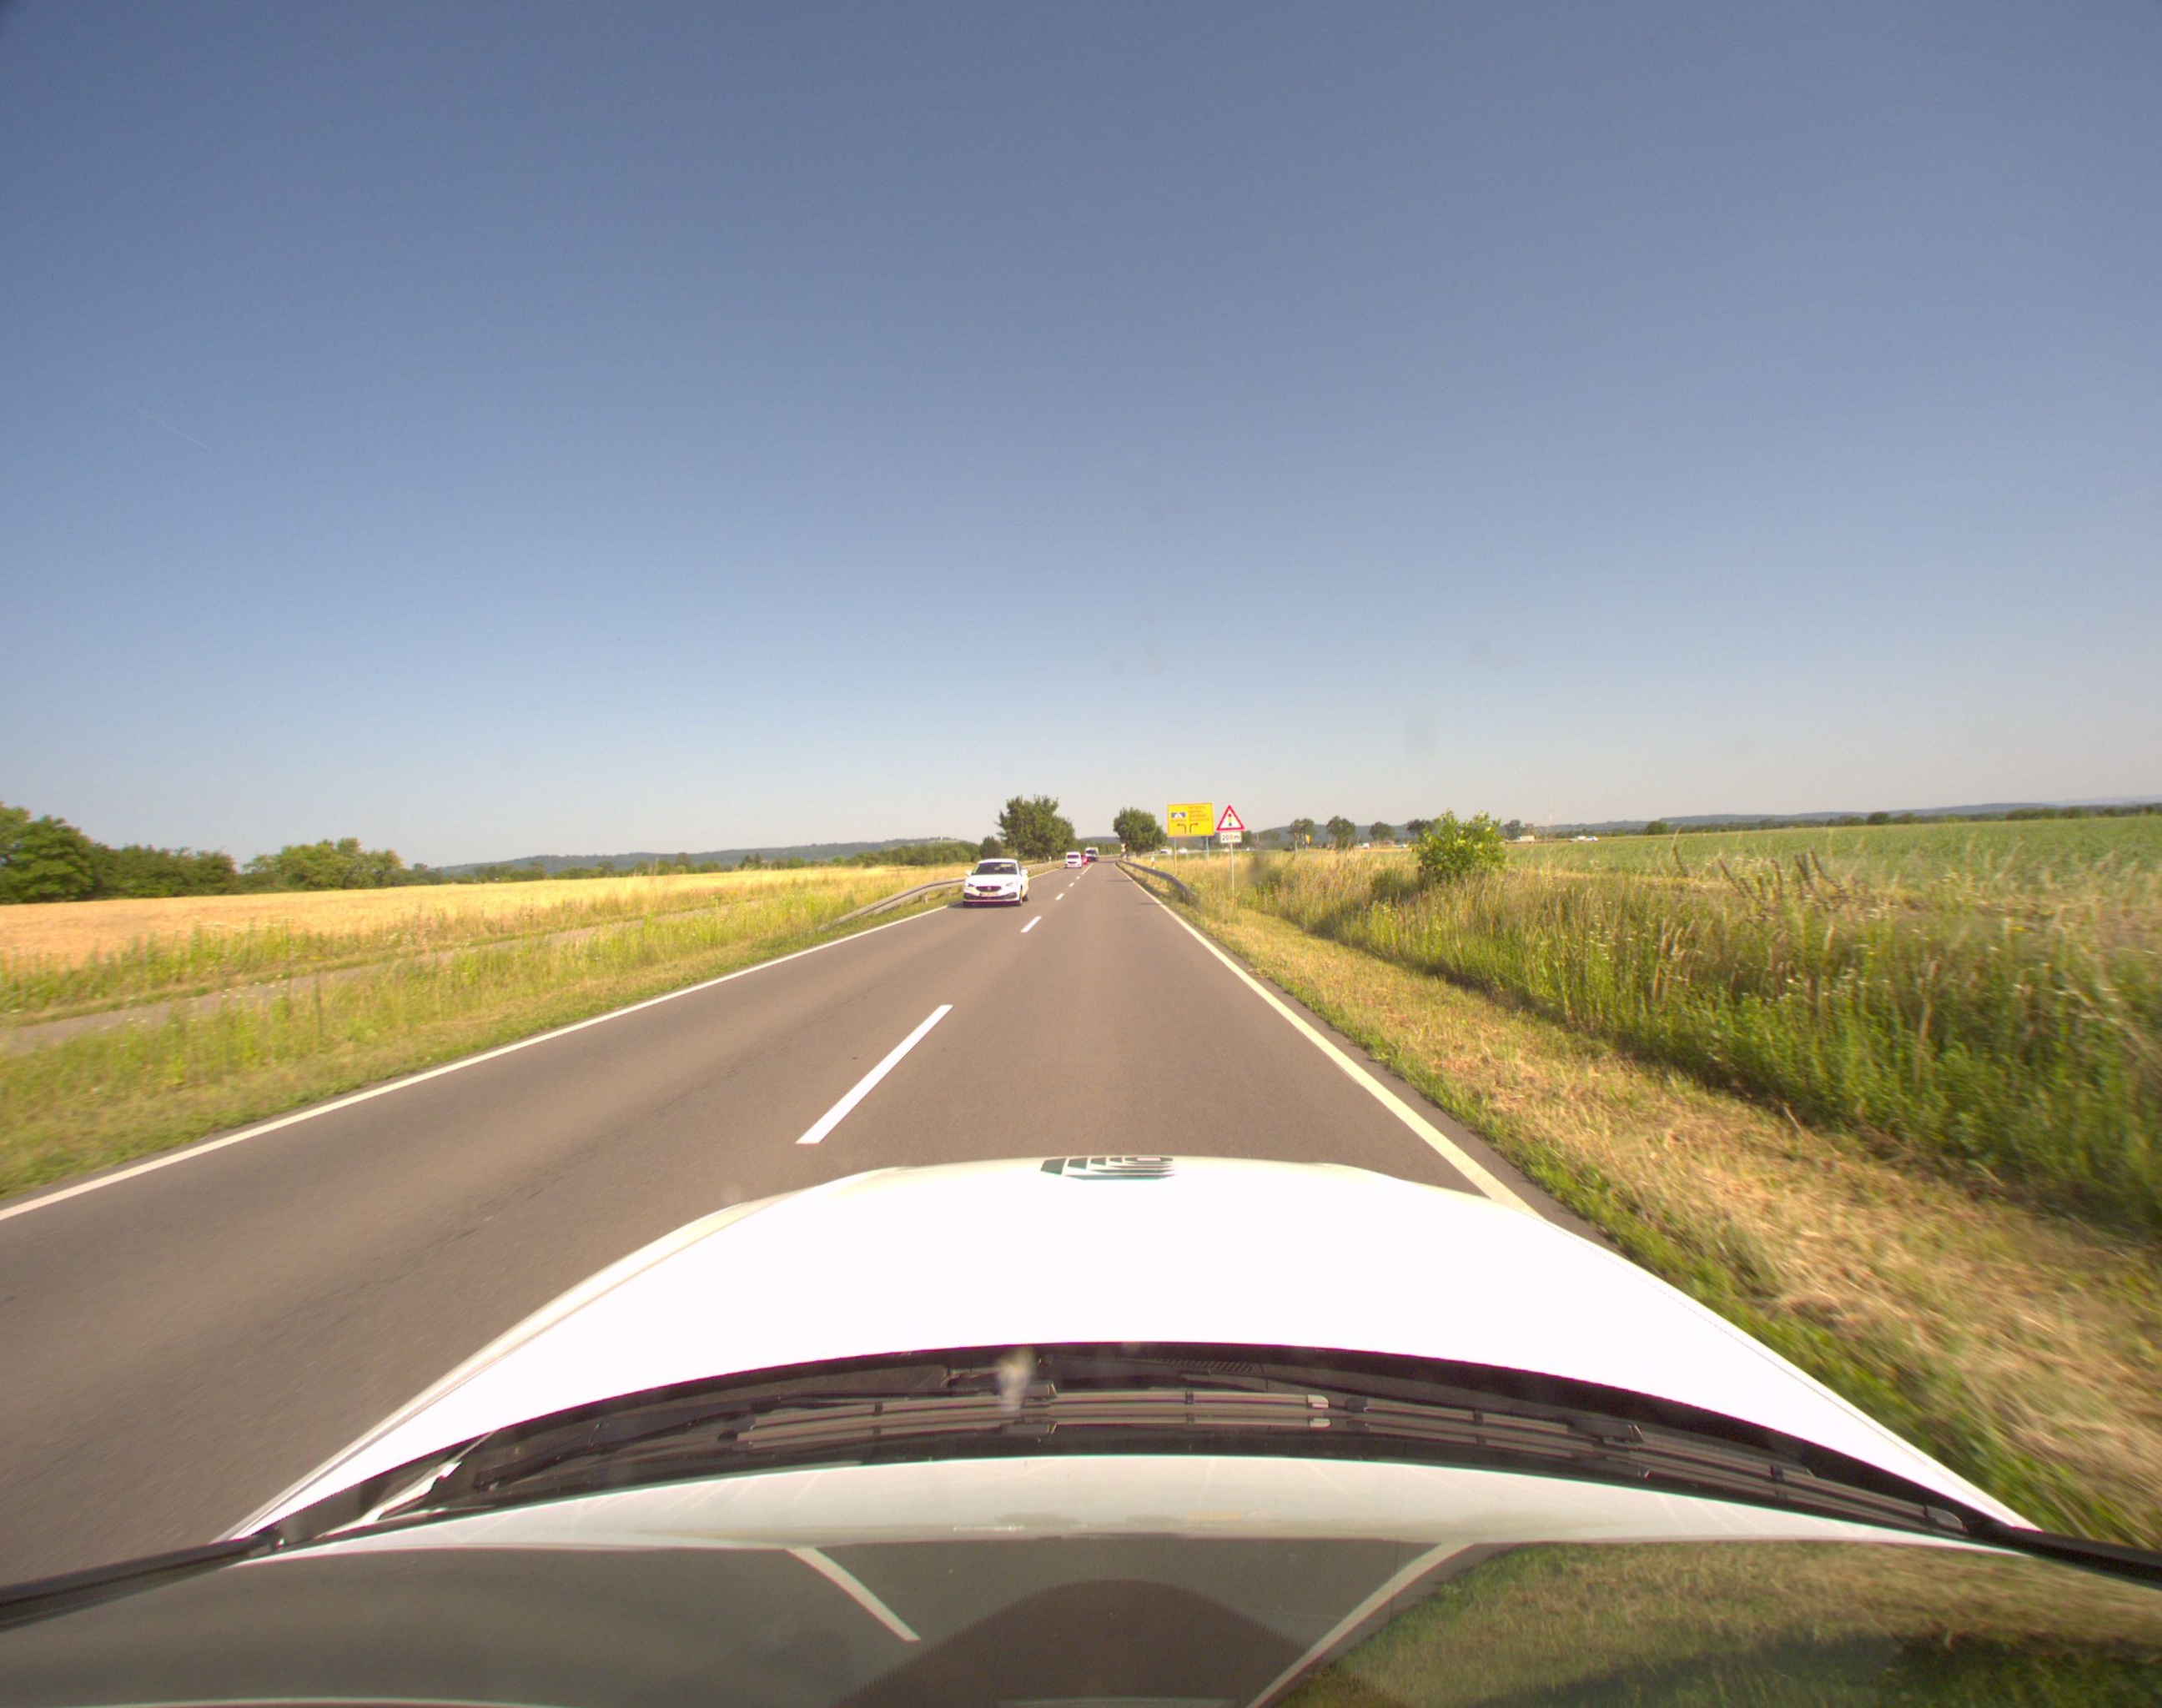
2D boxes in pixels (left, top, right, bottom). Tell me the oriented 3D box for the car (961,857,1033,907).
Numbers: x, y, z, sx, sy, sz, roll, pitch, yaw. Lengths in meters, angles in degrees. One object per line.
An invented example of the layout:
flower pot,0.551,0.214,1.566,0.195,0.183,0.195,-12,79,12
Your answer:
car,-2.624,0.835,26.378,1.720,1.437,4.517,-2,0,1

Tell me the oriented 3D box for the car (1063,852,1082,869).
car,-0.929,0.663,91.491,1.829,1.787,4.436,-2,0,2

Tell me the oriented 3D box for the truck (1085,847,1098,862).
truck,1.892,0.029,144.665,1.986,2.520,6.246,-2,0,2

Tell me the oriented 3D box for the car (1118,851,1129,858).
car,9.711,0.054,185.739,1.633,1.471,3.820,-1,0,13

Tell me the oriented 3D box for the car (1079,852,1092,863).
car,0.624,0.498,114.622,1.600,1.488,3.781,-1,0,2
